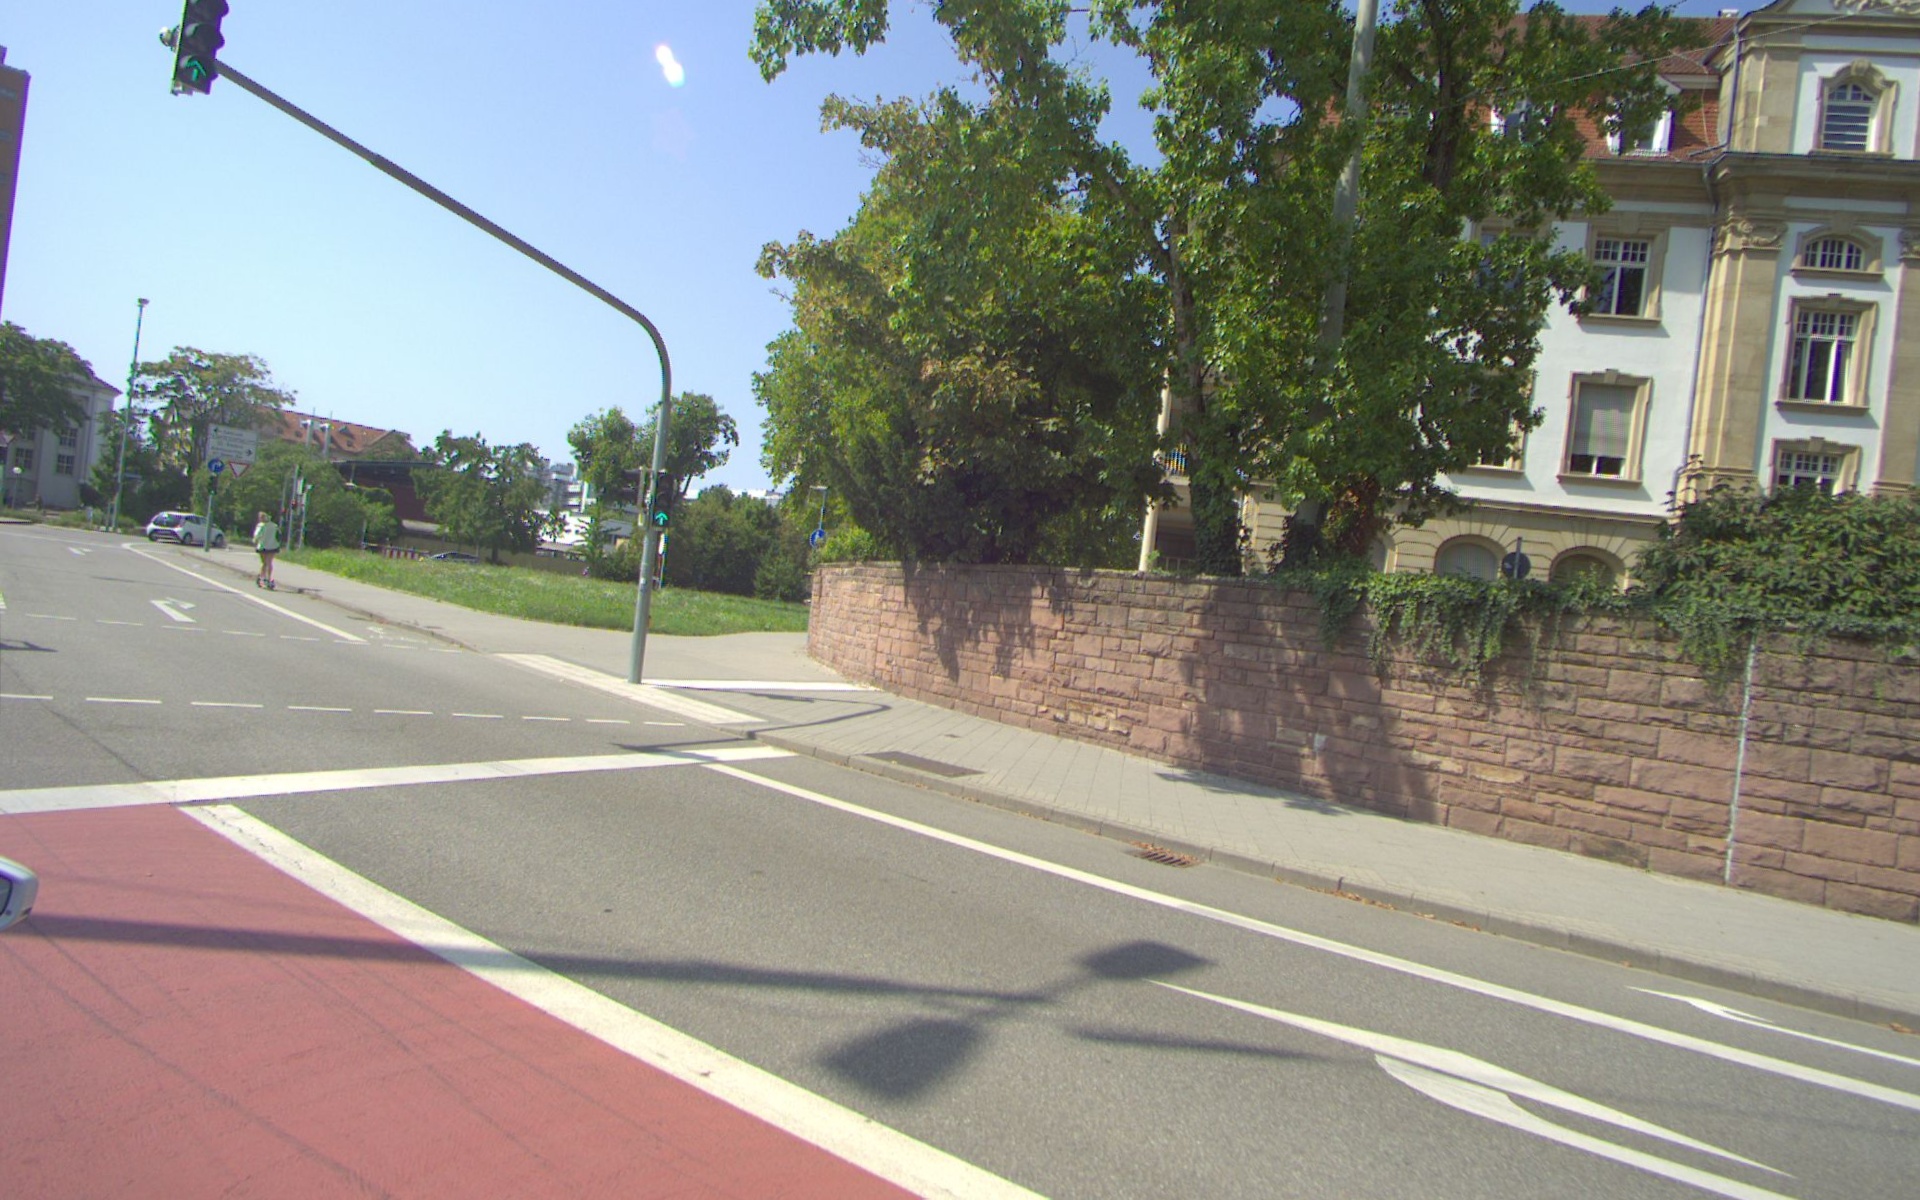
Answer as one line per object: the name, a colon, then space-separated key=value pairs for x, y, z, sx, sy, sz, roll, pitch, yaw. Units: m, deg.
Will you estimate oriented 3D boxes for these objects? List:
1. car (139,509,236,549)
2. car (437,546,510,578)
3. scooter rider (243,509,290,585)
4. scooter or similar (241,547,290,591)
car: x=-36.958 y=-3.384 z=48.264 sx=1.816 sy=1.408 sz=3.995 roll=7 pitch=-1 yaw=-7
car: x=-33.018 y=-2.553 z=68.304 sx=3.975 sy=1.584 sz=1.801 roll=8 pitch=-1 yaw=-43
scooter rider: x=-17.595 y=-1.344 z=25.532 sx=0.759 sy=1.797 sz=0.548 roll=7 pitch=0 yaw=-42
scooter or similar: x=-17.595 y=-0.782 z=25.469 sx=0.769 sy=0.937 sz=1.601 roll=8 pitch=-1 yaw=-41
